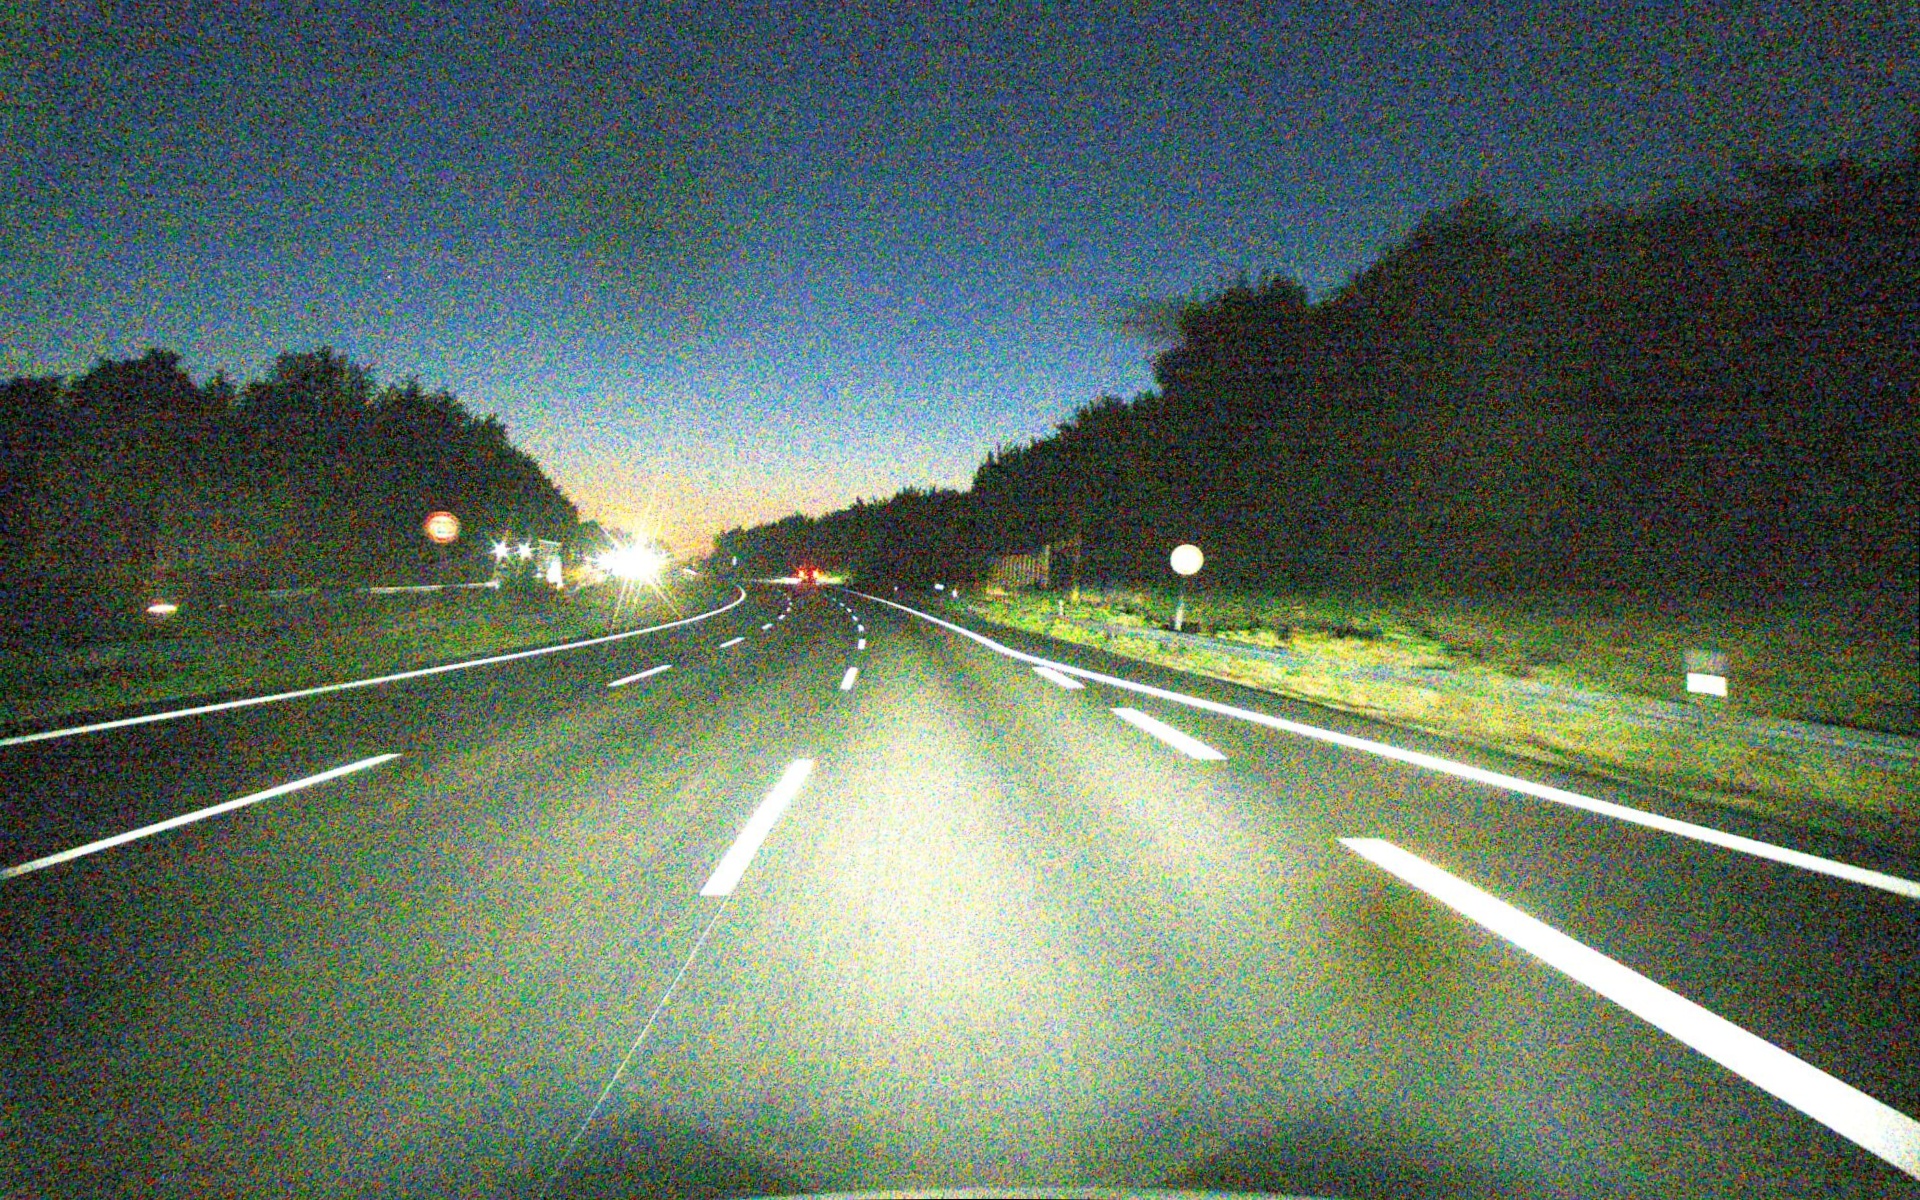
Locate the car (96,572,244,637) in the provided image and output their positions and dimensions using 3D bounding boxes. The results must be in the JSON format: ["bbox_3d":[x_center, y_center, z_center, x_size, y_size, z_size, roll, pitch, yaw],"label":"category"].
[{"bbox_3d":[-20.127,0.067,42.317,1.953,1.534,3.999,1,1,-2],"label":"car"}]

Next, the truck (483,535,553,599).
[{"bbox_3d":[-29.846,-2.194,111.865,3.520,4.171,5.988,1,1,-5],"label":"truck"}]

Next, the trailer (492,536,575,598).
[{"bbox_3d":[-30.448,-2.291,118.793,3.529,4.161,14.109,1,1,-5],"label":"trailer"}]

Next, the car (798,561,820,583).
[{"bbox_3d":[-19.447,-3.630,212.860,2.480,2.597,6.043,3,1,-7],"label":"car"}]
